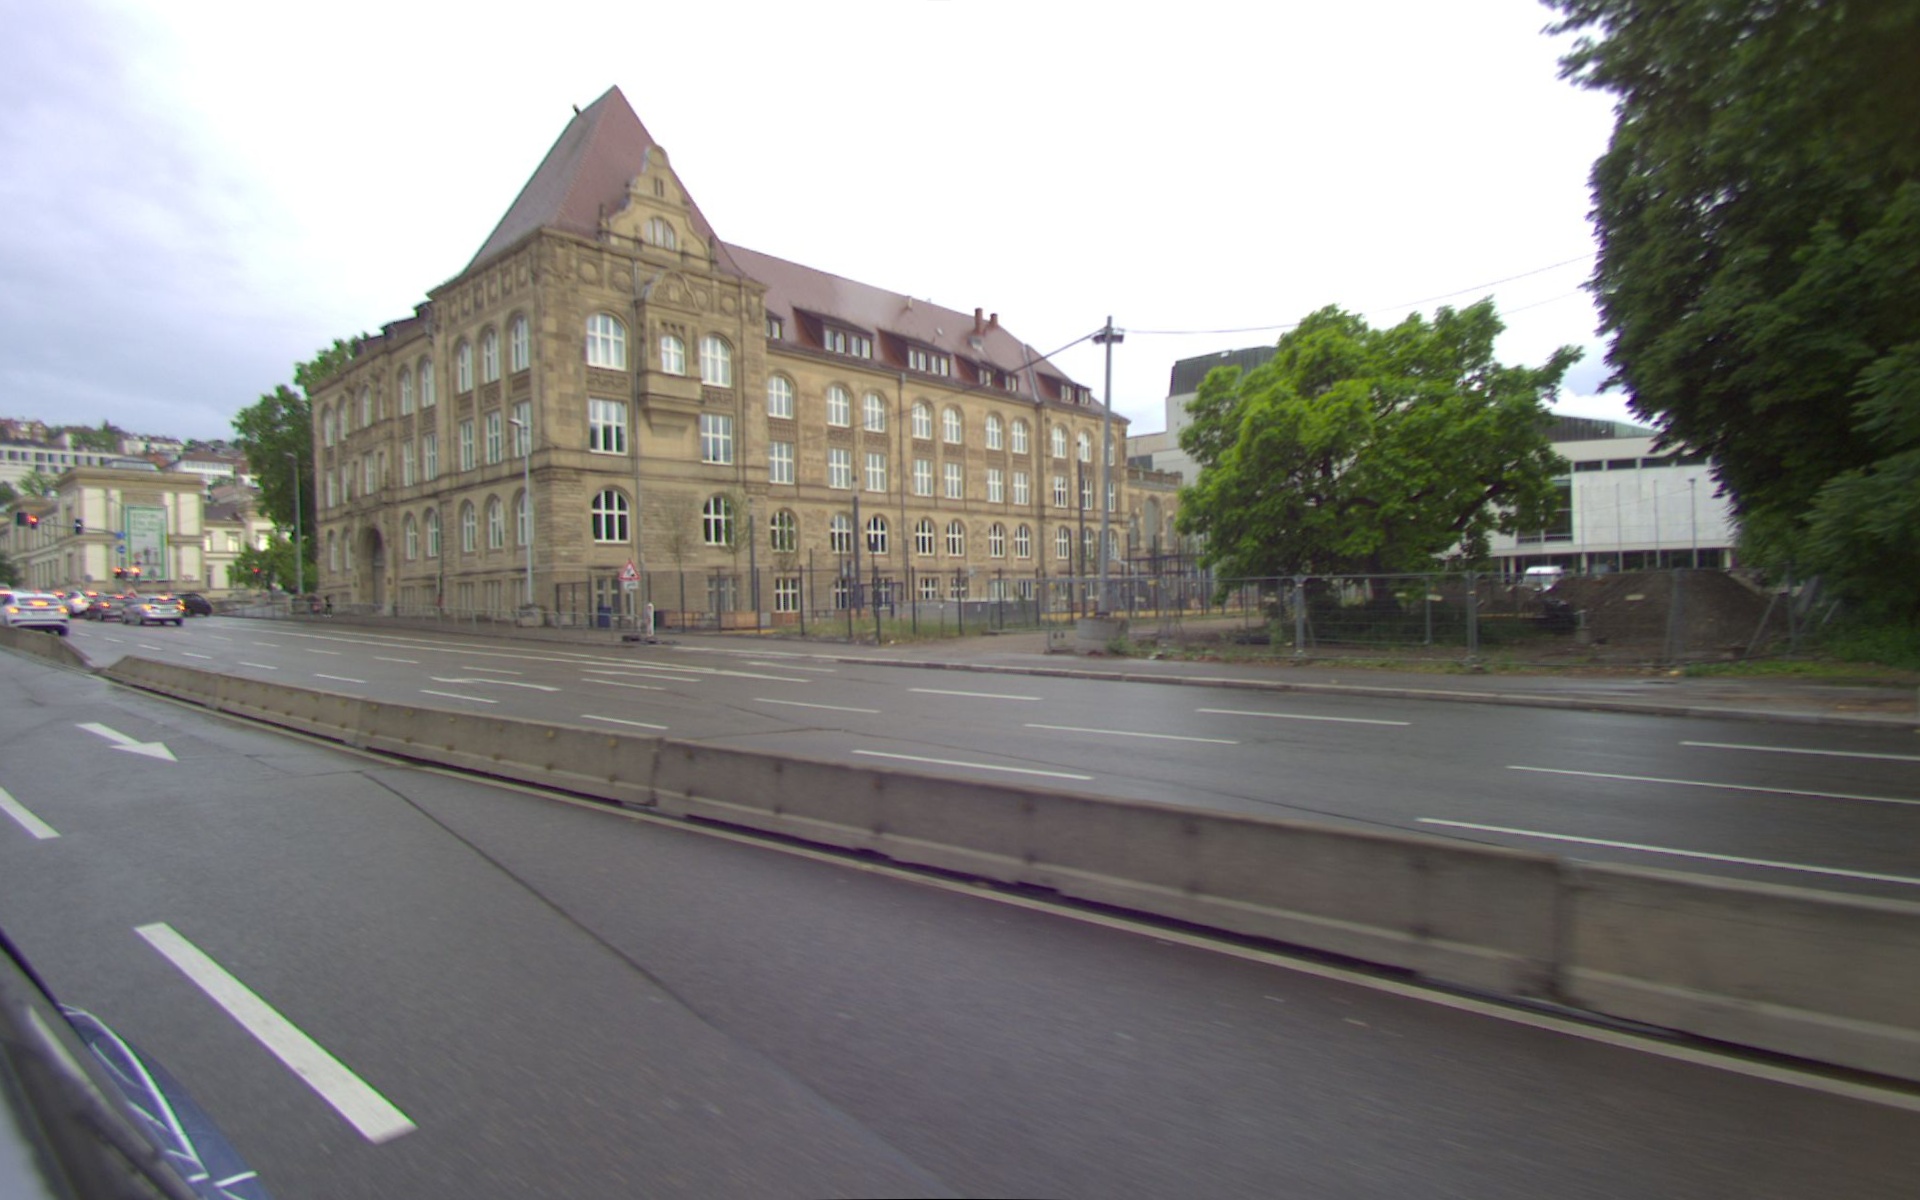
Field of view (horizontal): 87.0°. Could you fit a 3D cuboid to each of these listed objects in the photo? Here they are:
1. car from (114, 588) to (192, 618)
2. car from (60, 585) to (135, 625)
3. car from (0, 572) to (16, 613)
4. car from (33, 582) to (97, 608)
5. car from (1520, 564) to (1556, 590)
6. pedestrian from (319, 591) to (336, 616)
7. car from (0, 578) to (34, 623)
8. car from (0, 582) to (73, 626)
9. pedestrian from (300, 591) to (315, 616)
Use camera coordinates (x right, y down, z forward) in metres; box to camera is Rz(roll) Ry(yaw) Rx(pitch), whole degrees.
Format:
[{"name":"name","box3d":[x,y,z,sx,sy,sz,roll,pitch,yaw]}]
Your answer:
[{"name":"car","box3d":[-40.526,0.154,50.804,4.202,1.393,1.976,1,0,35]},{"name":"car","box3d":[-46.963,0.267,55.101,3.988,2.029,1.978,1,0,33]},{"name":"car","box3d":[-46.556,-0.407,47.892,5.589,1.880,1.974,1,0,39]},{"name":"car","box3d":[-52.498,-0.293,59.328,4.204,1.393,1.975,1,0,36]},{"name":"car","box3d":[40.770,-1.651,71.354,1.714,1.806,3.951,1,2,36]},{"name":"pedestrian","box3d":[-41.034,0.221,65.644,0.733,1.596,0.611,1,-1,33]},{"name":"car","box3d":[-41.588,-0.013,43.532,4.374,1.880,1.890,1,0,39]},{"name":"car","box3d":[-36.164,0.124,39.202,4.893,1.579,1.875,1,0,39]},{"name":"pedestrian","box3d":[-41.932,0.210,65.033,0.734,1.596,0.610,1,-1,41]}]
